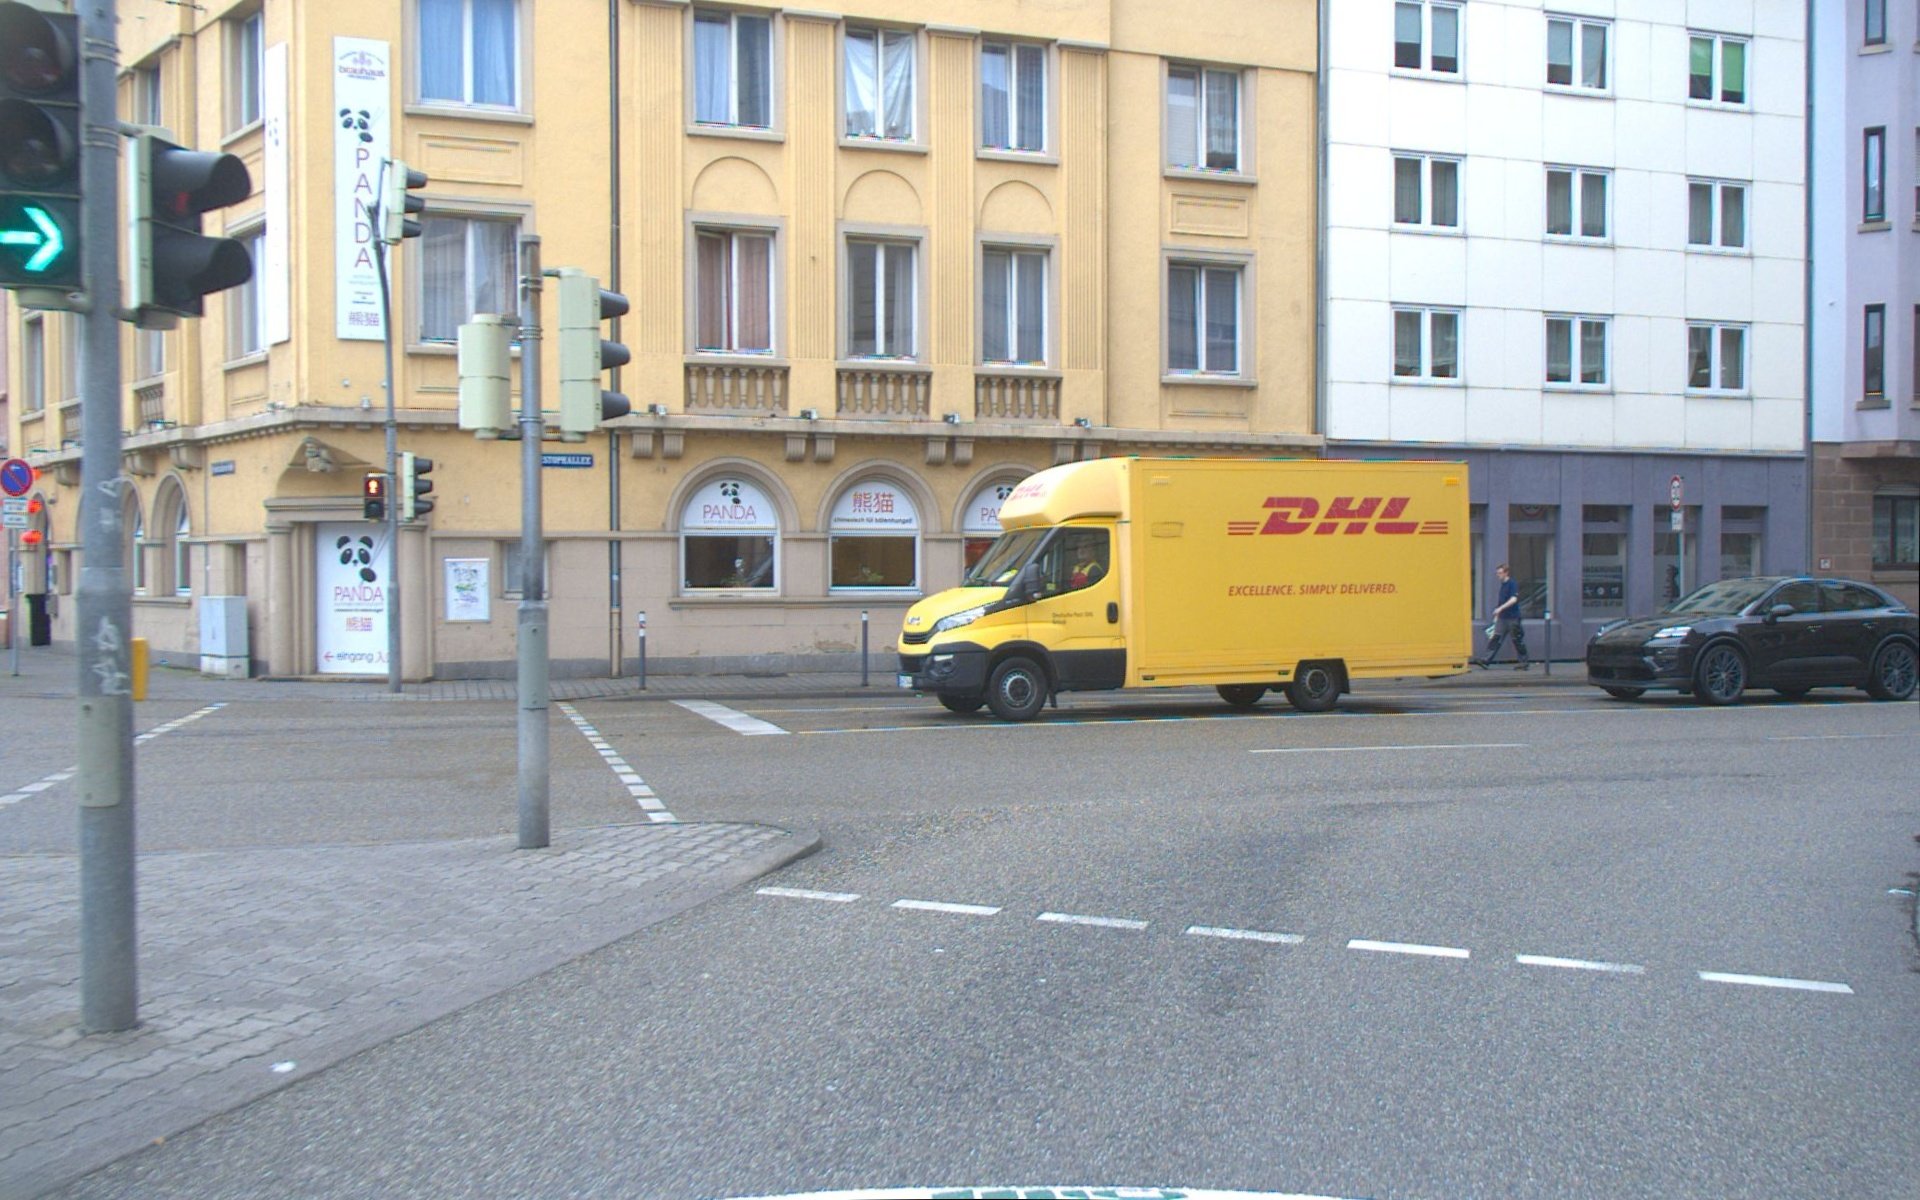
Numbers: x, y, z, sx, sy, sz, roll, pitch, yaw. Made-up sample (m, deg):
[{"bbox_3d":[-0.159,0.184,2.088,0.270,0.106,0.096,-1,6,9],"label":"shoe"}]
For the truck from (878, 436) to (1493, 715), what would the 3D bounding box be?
[{"bbox_3d":[2.673,-0.285,19.357,6.985,2.901,2.071,0,0,-20],"label":"truck"}]

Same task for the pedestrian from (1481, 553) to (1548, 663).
[{"bbox_3d":[9.394,0.128,28.029,0.778,1.823,0.759,0,0,-19],"label":"pedestrian"}]

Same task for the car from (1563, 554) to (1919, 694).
[{"bbox_3d":[10.579,0.263,21.876,4.738,1.714,1.989,0,1,-19],"label":"car"}]
